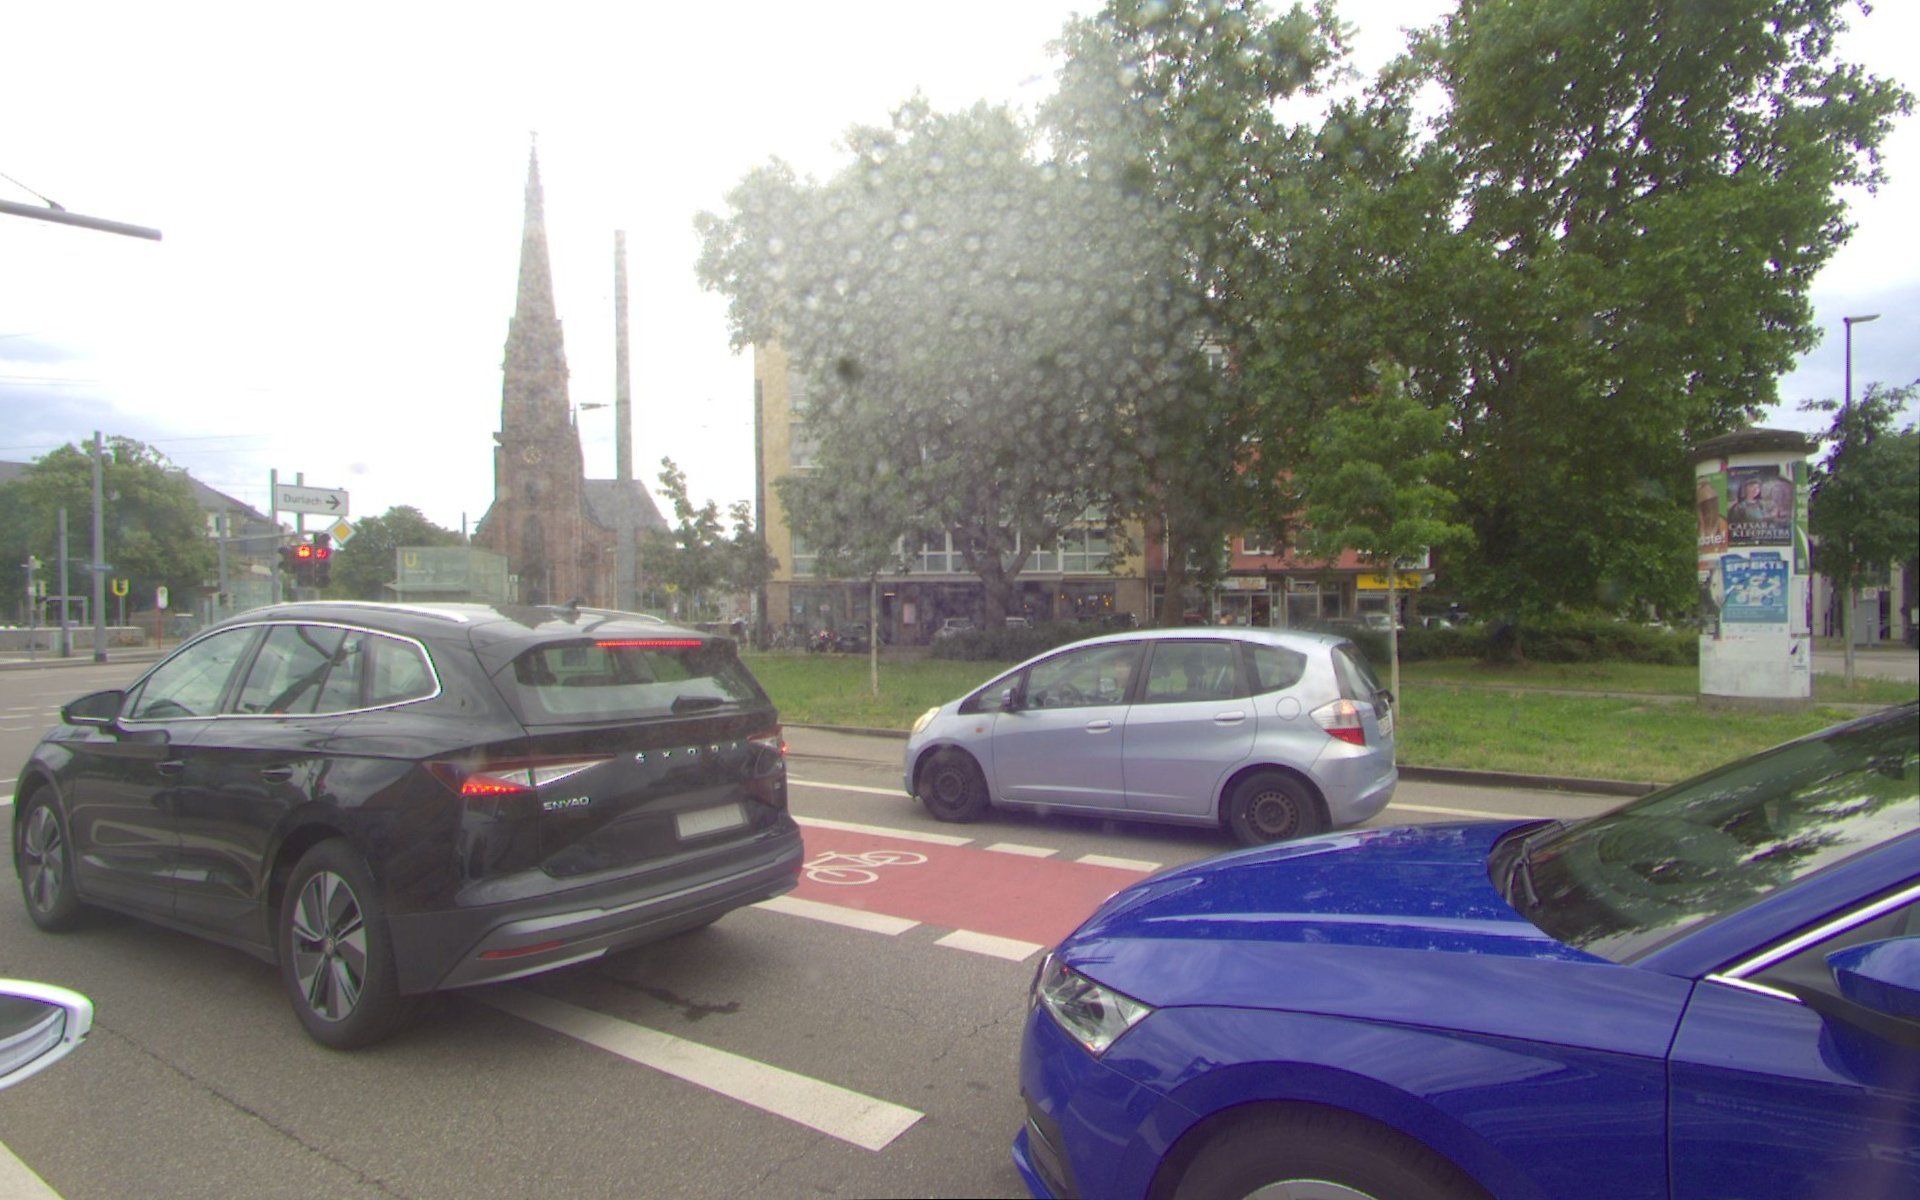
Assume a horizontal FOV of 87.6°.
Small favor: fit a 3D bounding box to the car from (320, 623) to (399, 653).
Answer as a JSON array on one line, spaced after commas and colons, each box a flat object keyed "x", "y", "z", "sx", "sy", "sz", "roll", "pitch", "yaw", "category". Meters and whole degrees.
[{"x": -32.229, "y": 2.028, "z": 53.844, "sx": 1.740, "sy": 1.483, "sz": 4.001, "roll": -2, "pitch": -1, "yaw": 1, "category": "car"}]

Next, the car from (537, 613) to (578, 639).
[{"x": -32.560, "y": 2.062, "z": 81.043, "sx": 1.961, "sy": 2.040, "sz": 4.000, "roll": 0, "pitch": -1, "yaw": -5, "category": "car"}]

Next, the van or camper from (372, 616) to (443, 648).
[{"x": -33.024, "y": 1.896, "z": 60.000, "sx": 1.961, "sy": 1.764, "sz": 4.305, "roll": -2, "pitch": -1, "yaw": -3, "category": "van or camper"}]

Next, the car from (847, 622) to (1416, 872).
[{"x": 1.247, "y": 0.922, "z": 7.812, "sx": 4.039, "sy": 1.486, "sz": 1.746, "roll": -1, "pitch": -1, "yaw": 32, "category": "car"}]

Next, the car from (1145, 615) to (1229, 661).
[{"x": 8.231, "y": 1.347, "z": 36.670, "sx": 1.825, "sy": 1.568, "sz": 4.476, "roll": 0, "pitch": -1, "yaw": -3, "category": "car"}]

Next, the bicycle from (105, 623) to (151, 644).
[{"x": -55.436, "y": 2.233, "z": 66.739, "sx": 0.699, "sy": 1.348, "sz": 2.252, "roll": -2, "pitch": -1, "yaw": 39, "category": "bicycle"}]

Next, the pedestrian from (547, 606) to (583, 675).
[{"x": -11.429, "y": 1.164, "z": 29.027, "sx": 0.874, "sy": 1.956, "sz": 1.016, "roll": 0, "pitch": 0, "yaw": -16, "category": "pedestrian"}]

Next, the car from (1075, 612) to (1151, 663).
[{"x": 5.496, "y": 1.330, "z": 36.472, "sx": 1.825, "sy": 1.745, "sz": 4.476, "roll": 0, "pitch": -1, "yaw": -3, "category": "car"}]

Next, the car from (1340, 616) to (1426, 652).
[{"x": 19.506, "y": 1.545, "z": 46.442, "sx": 1.825, "sy": 1.568, "sz": 4.476, "roll": 0, "pitch": -1, "yaw": -5, "category": "car"}]

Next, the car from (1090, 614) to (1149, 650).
[{"x": 7.378, "y": 1.468, "z": 46.692, "sx": 1.825, "sy": 1.568, "sz": 4.476, "roll": 0, "pitch": -1, "yaw": -3, "category": "car"}]

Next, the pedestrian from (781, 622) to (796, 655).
[{"x": -8.647, "y": 1.945, "z": 50.450, "sx": 0.625, "sy": 1.659, "sz": 0.872, "roll": 0, "pitch": 0, "yaw": -1, "category": "pedestrian"}]

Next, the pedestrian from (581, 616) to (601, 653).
[{"x": -16.843, "y": 1.578, "z": 45.738, "sx": 0.625, "sy": 1.659, "sz": 0.872, "roll": 0, "pitch": 0, "yaw": -1, "category": "pedestrian"}]

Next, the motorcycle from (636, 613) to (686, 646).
[{"x": -11.118, "y": 1.093, "z": 37.331, "sx": 0.753, "sy": 1.183, "sz": 2.385, "roll": 0, "pitch": -1, "yaw": 12, "category": "motorcycle"}]

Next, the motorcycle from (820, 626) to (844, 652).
[{"x": -5.069, "y": 1.543, "z": 39.603, "sx": 0.858, "sy": 1.010, "sz": 1.014, "roll": 0, "pitch": -1, "yaw": -14, "category": "motorcycle"}]

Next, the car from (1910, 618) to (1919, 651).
[{"x": 46.502, "y": 1.610, "z": 46.339, "sx": 1.865, "sy": 1.568, "sz": 4.469, "roll": -2, "pitch": -1, "yaw": 17, "category": "car"}]

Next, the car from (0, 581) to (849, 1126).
[{"x": -2.846, "y": 0.795, "z": 4.898, "sx": 4.444, "sy": 1.617, "sz": 1.774, "roll": -1, "pitch": -1, "yaw": 31, "category": "car"}]

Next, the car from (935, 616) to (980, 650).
[{"x": -0.151, "y": 1.501, "z": 46.148, "sx": 1.825, "sy": 1.509, "sz": 4.476, "roll": 0, "pitch": -1, "yaw": -3, "category": "car"}]

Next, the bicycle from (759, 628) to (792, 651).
[{"x": -7.452, "y": 1.602, "z": 40.453, "sx": 1.240, "sy": 0.929, "sz": 0.595, "roll": 0, "pitch": 0, "yaw": 2, "category": "bicycle"}]

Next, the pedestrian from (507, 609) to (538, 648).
[{"x": -20.989, "y": 1.361, "z": 48.070, "sx": 1.066, "sy": 1.820, "sz": 0.947, "roll": -1, "pitch": -1, "yaw": -1, "category": "pedestrian"}]

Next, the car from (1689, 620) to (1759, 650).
[{"x": 45.362, "y": 2.041, "z": 59.554, "sx": 1.828, "sy": 1.644, "sz": 4.469, "roll": -2, "pitch": -1, "yaw": 17, "category": "car"}]

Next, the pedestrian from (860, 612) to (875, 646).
[{"x": -4.525, "y": 1.407, "z": 49.017, "sx": 0.625, "sy": 1.659, "sz": 0.872, "roll": 0, "pitch": 0, "yaw": 0, "category": "pedestrian"}]

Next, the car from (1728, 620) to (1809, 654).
[{"x": 43.525, "y": 1.963, "z": 54.015, "sx": 1.828, "sy": 1.644, "sz": 4.469, "roll": -2, "pitch": -1, "yaw": 17, "category": "car"}]

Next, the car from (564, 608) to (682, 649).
[{"x": -18.100, "y": 1.486, "z": 53.939, "sx": 5.674, "sy": 2.039, "sz": 2.011, "roll": -1, "pitch": -1, "yaw": -40, "category": "car"}]

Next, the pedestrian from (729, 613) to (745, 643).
[{"x": -12.163, "y": 1.520, "z": 54.627, "sx": 0.771, "sy": 1.659, "sz": 0.637, "roll": 0, "pitch": 0, "yaw": -4, "category": "pedestrian"}]

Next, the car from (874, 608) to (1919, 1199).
[{"x": 2.148, "y": 0.763, "z": 1.681, "sx": 4.402, "sy": 1.508, "sz": 1.776, "roll": -1, "pitch": -1, "yaw": 32, "category": "car"}]

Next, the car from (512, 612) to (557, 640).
[{"x": -32.472, "y": 1.982, "z": 76.492, "sx": 1.961, "sy": 2.040, "sz": 4.000, "roll": 0, "pitch": -1, "yaw": -5, "category": "car"}]

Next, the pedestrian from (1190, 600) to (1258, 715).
[{"x": 4.398, "y": 0.946, "z": 16.698, "sx": 0.968, "sy": 1.868, "sz": 0.536, "roll": 0, "pitch": 0, "yaw": -11, "category": "pedestrian"}]

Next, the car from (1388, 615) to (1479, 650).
[{"x": 21.973, "y": 1.482, "z": 46.678, "sx": 1.825, "sy": 1.568, "sz": 4.476, "roll": 0, "pitch": -1, "yaw": -5, "category": "car"}]

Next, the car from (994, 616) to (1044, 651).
[{"x": 2.666, "y": 1.512, "z": 46.195, "sx": 1.825, "sy": 1.509, "sz": 4.476, "roll": 0, "pitch": -1, "yaw": -3, "category": "car"}]
